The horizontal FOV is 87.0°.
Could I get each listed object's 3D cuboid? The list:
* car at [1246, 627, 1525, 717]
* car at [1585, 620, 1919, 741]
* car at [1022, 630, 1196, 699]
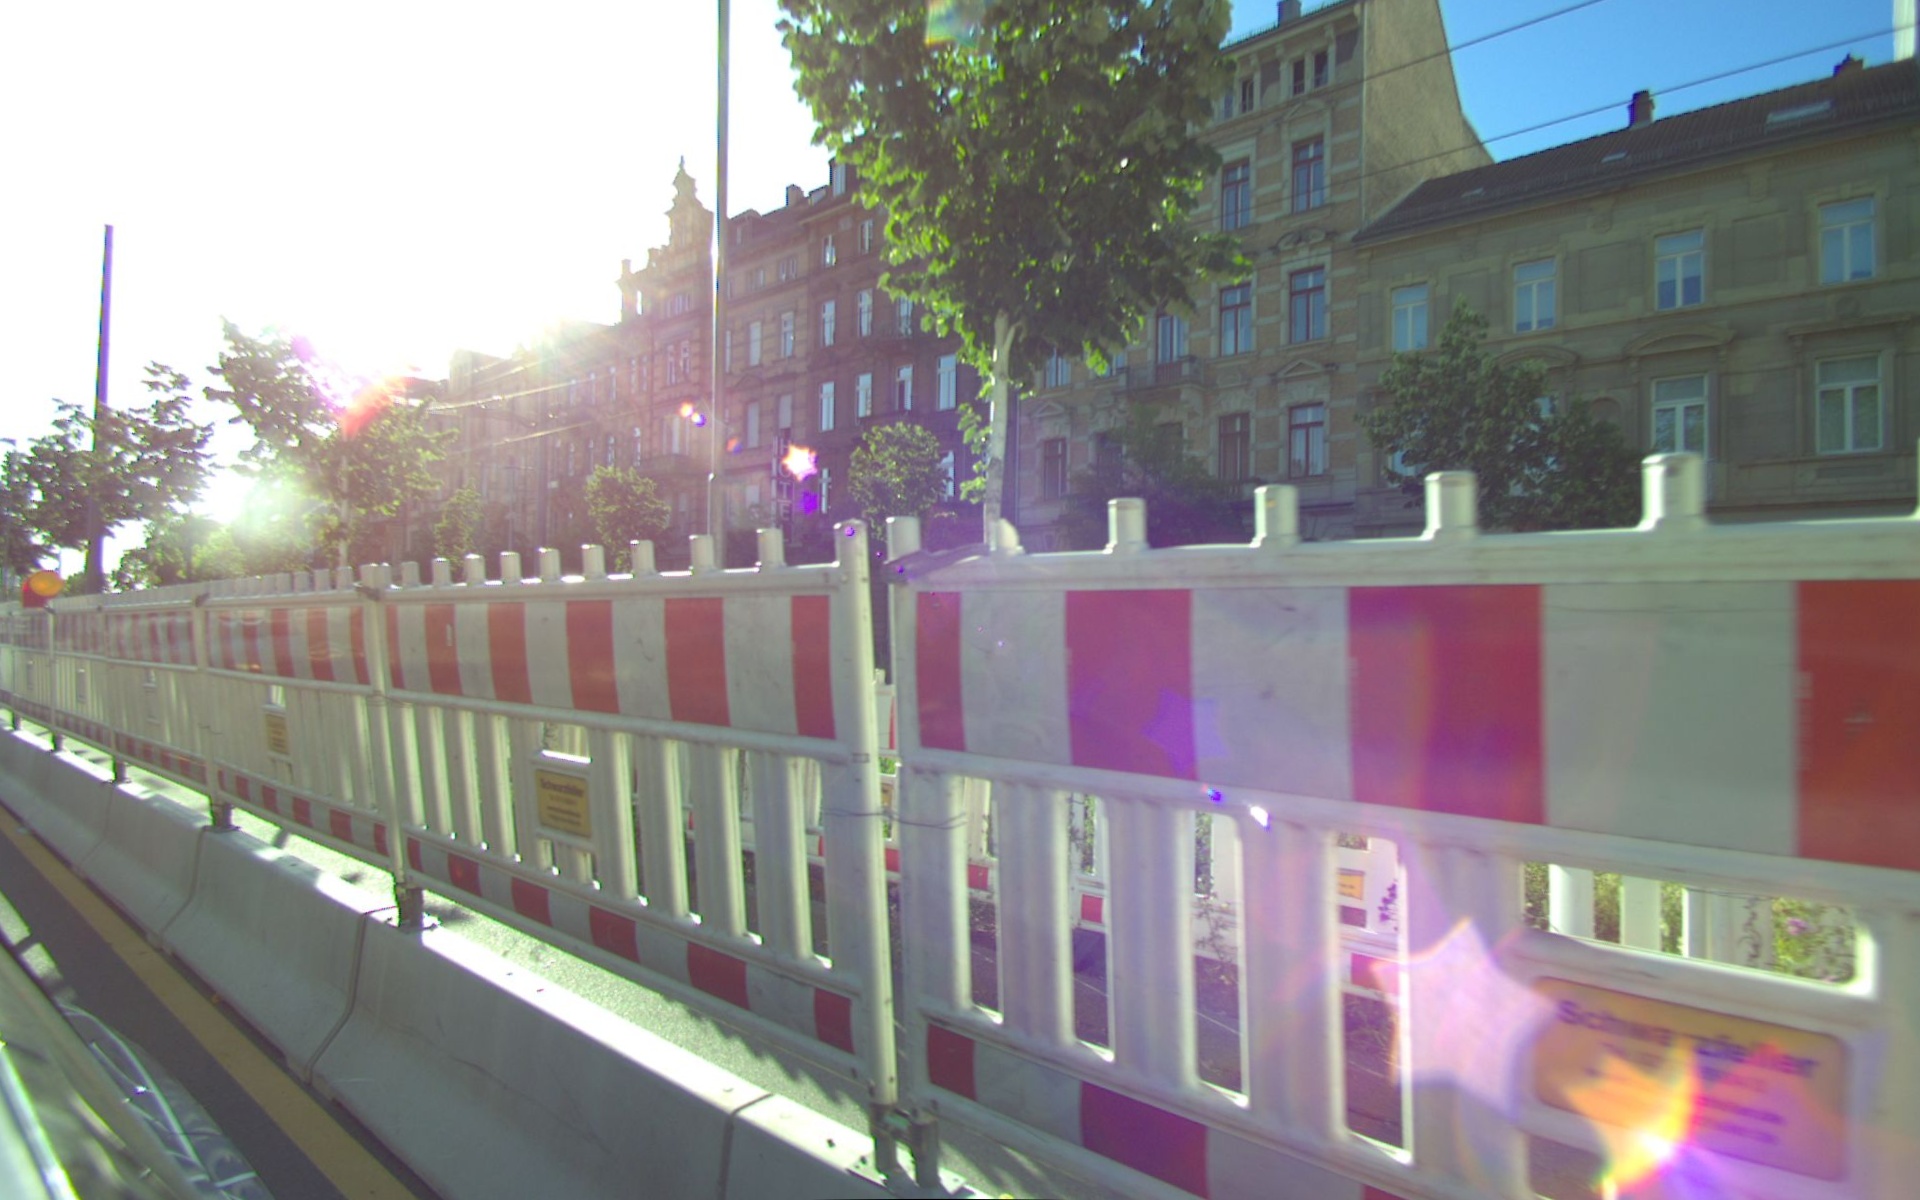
[{"bbox_3d":[8.695,1.382,20.970,4.982,1.549,1.973,-1,0,41],"label":"car"},{"bbox_3d":[13.375,1.229,16.793,4.884,1.710,1.973,-1,0,40],"label":"car"},{"bbox_3d":[3.678,1.545,25.384,4.026,1.490,1.730,-1,0,41],"label":"car"}]
